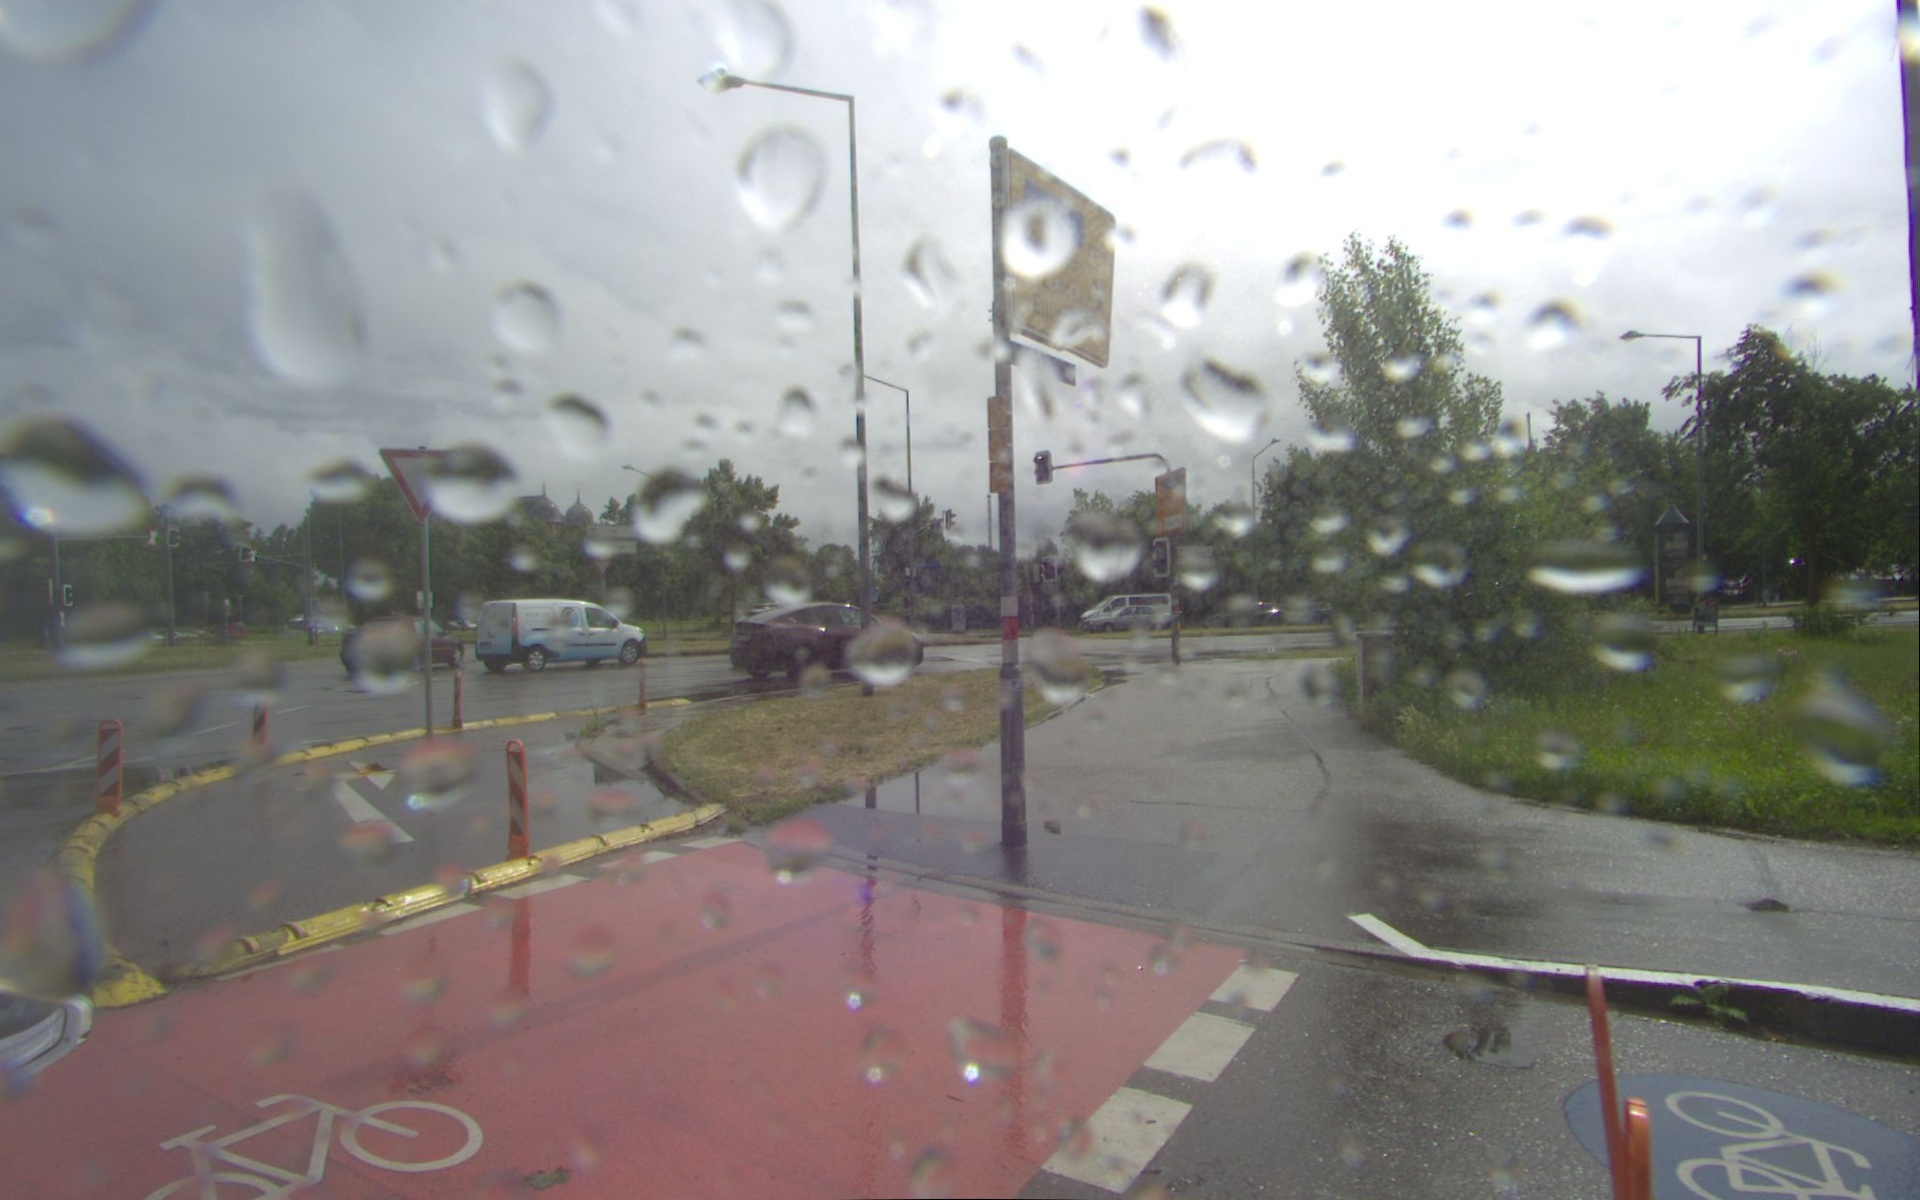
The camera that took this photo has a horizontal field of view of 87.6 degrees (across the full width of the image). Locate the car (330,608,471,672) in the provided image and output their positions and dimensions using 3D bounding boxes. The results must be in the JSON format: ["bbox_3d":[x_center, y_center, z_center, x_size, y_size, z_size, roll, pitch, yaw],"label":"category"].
[{"bbox_3d":[-14.665,0.987,26.507,1.687,1.482,3.998,-1,1,-4],"label":"car"}]

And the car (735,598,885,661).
[{"bbox_3d":[-4.708,0.864,31.718,4.270,1.781,2.026,-1,1,-38],"label":"car"}]

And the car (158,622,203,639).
[{"bbox_3d":[-75.686,2.945,97.231,3.546,1.481,1.643,-2,0,17],"label":"car"}]

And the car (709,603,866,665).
[{"bbox_3d":[-4.789,0.893,28.064,3.952,1.548,1.796,-1,0,-38],"label":"car"}]

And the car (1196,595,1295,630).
[{"bbox_3d":[14.284,0.619,50.086,4.406,1.556,1.864,-2,1,-15],"label":"car"}]

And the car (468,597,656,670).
[{"bbox_3d":[-10.570,0.817,26.954,1.839,1.786,4.530,0,0,30],"label":"car"}]

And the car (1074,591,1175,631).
[{"bbox_3d":[8.487,0.551,51.770,4.714,2.014,2.075,-1,0,-16],"label":"car"}]

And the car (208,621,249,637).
[{"bbox_3d":[-74.612,2.985,102.176,3.586,1.530,1.647,-2,0,19],"label":"car"}]

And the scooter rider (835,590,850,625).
[{"bbox_3d":[-6.919,0.432,58.801,0.694,2.039,0.768,0,-1,-22],"label":"scooter rider"}]

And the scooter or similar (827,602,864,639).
[{"bbox_3d":[-6.650,1.219,57.876,1.219,2.039,3.400,0,-2,-23],"label":"scooter or similar"}]

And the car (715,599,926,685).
[{"bbox_3d":[-3.031,0.853,22.487,4.454,1.679,1.857,-2,1,-44],"label":"car"}]

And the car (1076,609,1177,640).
[{"bbox_3d":[8.068,1.151,48.562,4.469,1.398,1.864,-1,0,-15],"label":"car"}]
